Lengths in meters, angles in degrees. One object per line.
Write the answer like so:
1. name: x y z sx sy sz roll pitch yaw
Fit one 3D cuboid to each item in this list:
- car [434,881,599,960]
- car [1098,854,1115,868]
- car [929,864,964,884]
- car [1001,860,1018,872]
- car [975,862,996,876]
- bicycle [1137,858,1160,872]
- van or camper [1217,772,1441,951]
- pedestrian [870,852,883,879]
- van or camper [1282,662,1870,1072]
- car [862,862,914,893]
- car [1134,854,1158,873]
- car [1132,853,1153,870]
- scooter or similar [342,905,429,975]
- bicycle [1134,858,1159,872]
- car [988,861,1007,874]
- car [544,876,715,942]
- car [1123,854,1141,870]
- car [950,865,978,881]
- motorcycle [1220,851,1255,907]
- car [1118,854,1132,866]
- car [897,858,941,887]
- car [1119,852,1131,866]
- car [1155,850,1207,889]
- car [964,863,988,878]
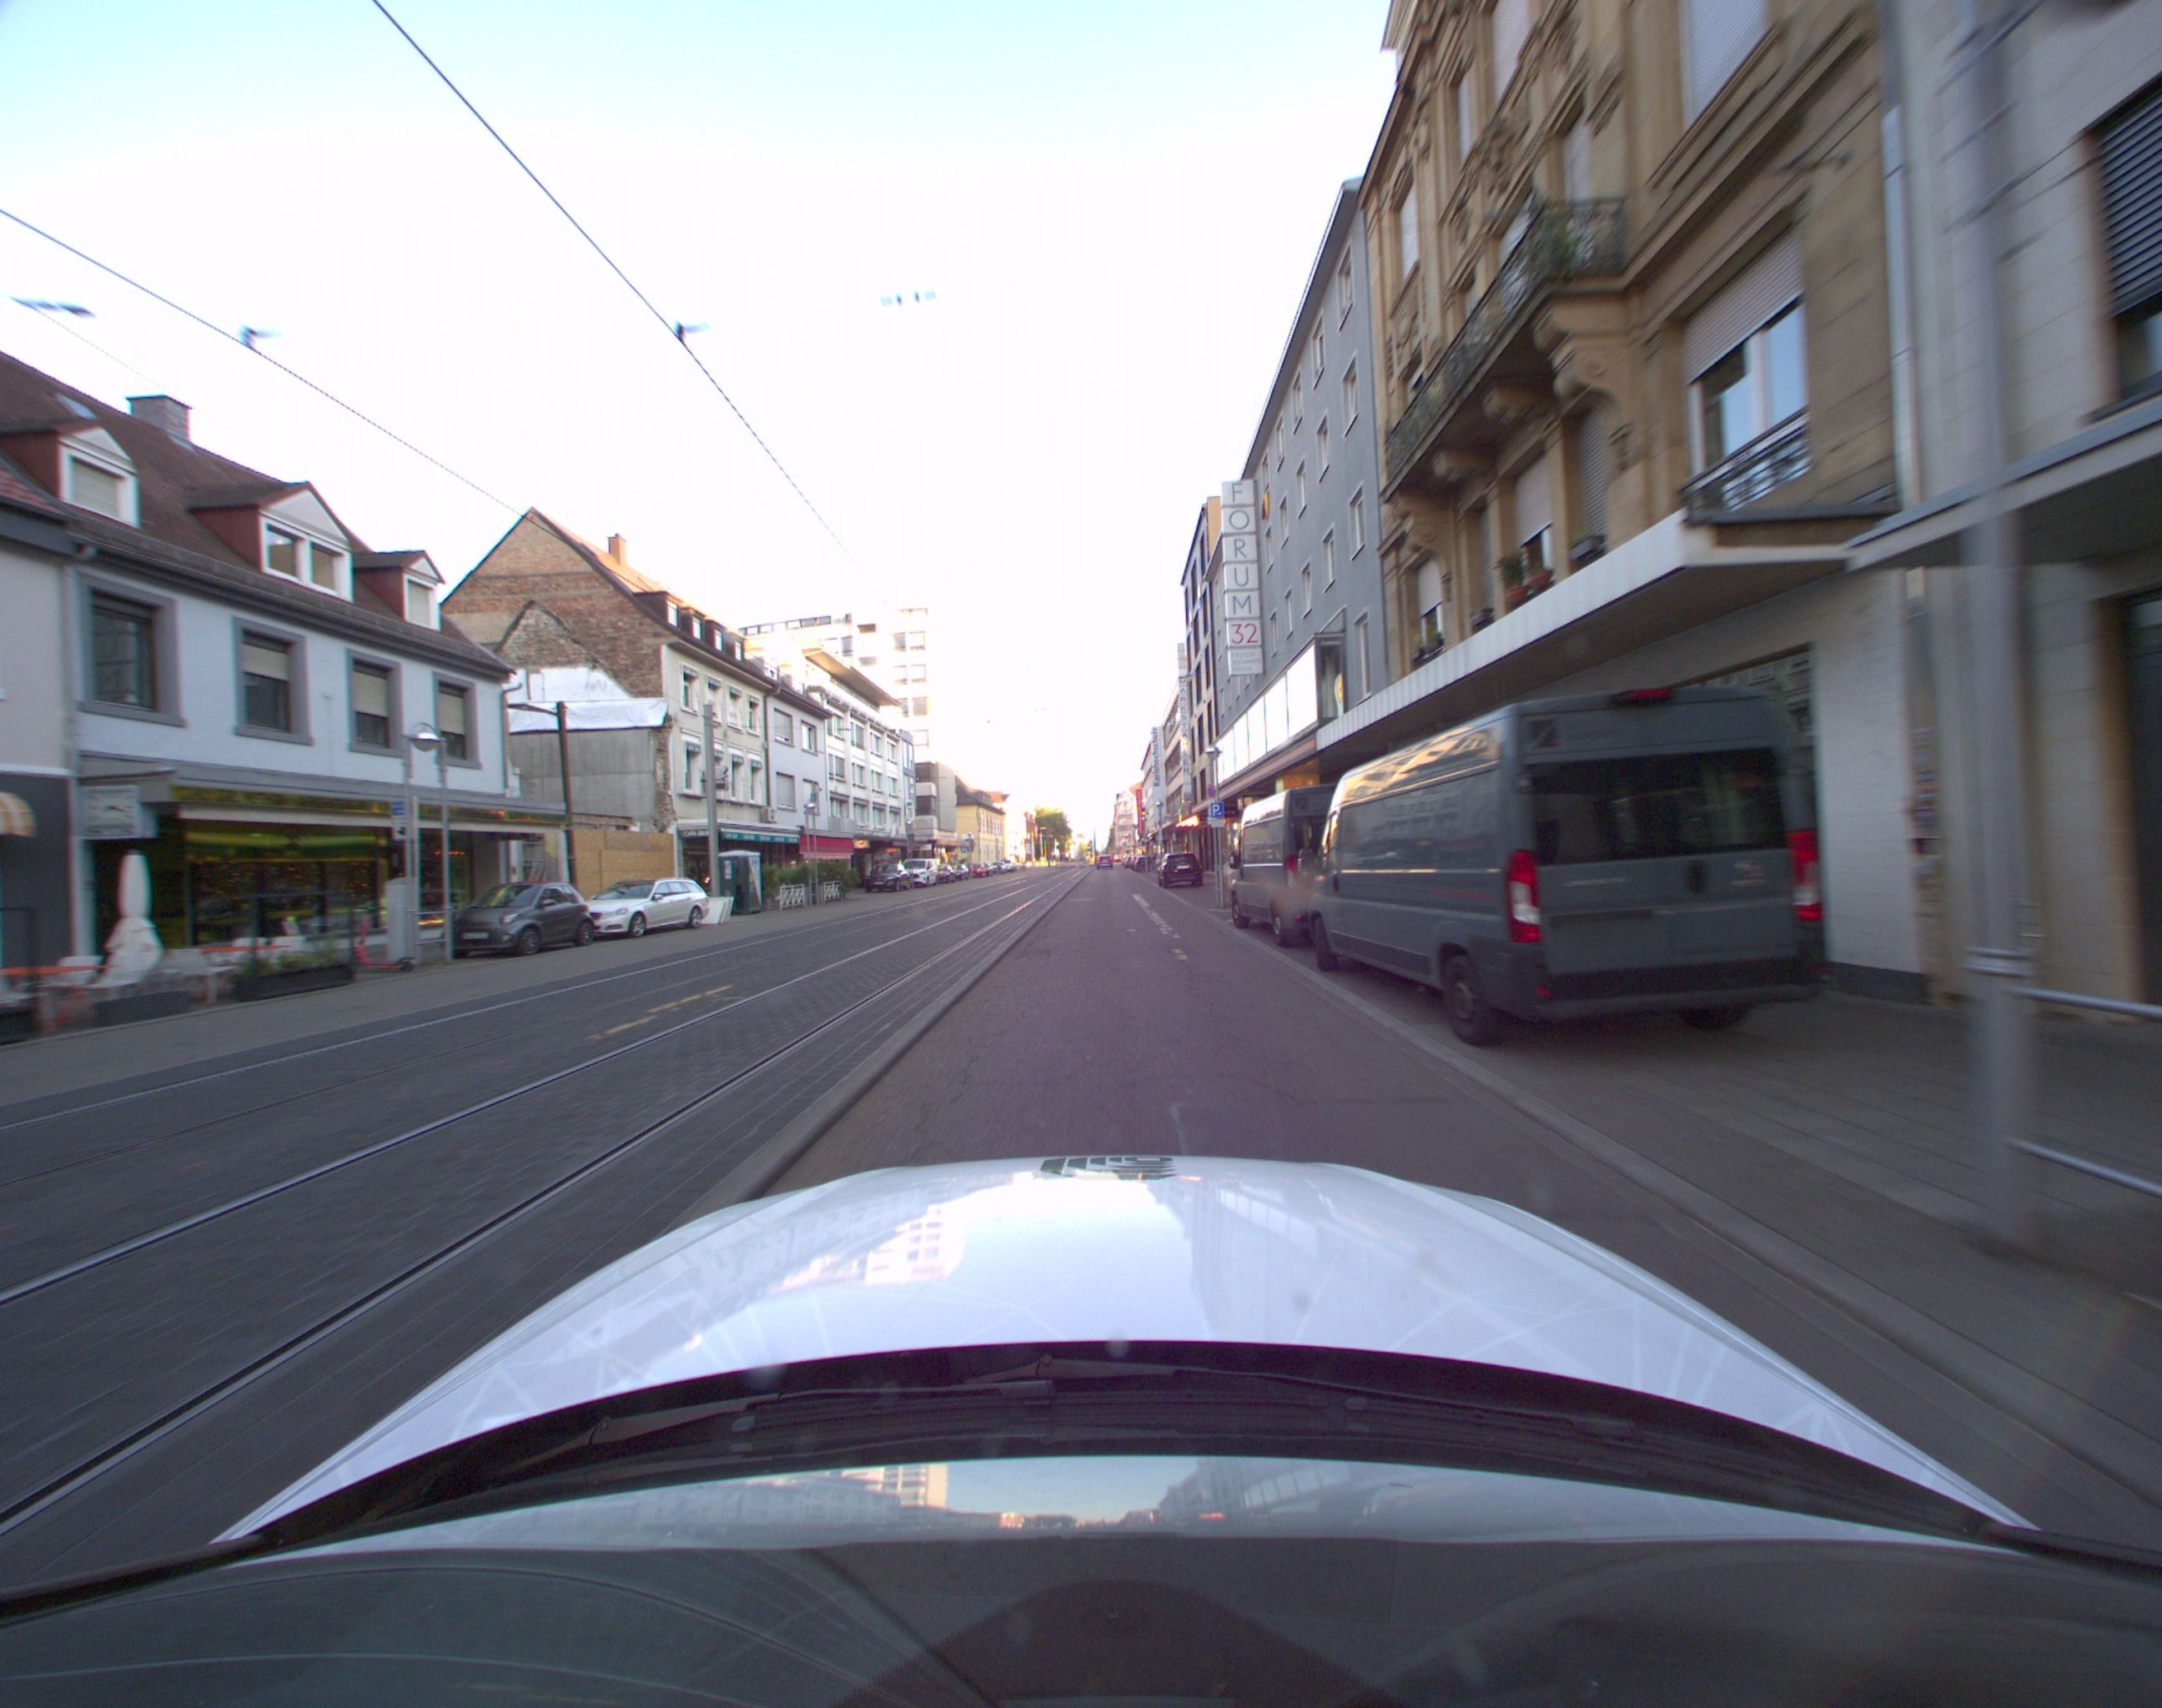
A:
1. car: -12.190 1.375 17.782 1.586 1.504 2.813 0 0 1
2. car: 3.056 0.811 96.115 1.936 1.545 4.547 -2 0 3
3. car: -10.656 1.557 64.600 1.910 1.521 4.630 0 0 1
4. car: -9.297 1.532 105.487 1.784 1.449 3.892 0 0 1
5. car: -10.079 1.564 86.175 1.784 1.339 3.892 0 0 1
6. bicycle: 5.615 0.941 68.084 1.862 1.090 0.545 -3 0 1
7. van or camper: 4.061 0.120 14.570 2.181 2.426 5.517 -5 0 0
8. pedestrian: -13.961 0.758 55.566 0.645 1.820 0.837 0 0 2
9. van or camper: 3.890 0.096 8.240 2.181 2.426 6.134 -5 0 1
10. car: -11.533 1.387 48.962 1.910 1.763 4.432 0 0 2
11. car: 6.019 0.886 75.466 1.936 1.545 4.547 -5 0 3
12. car: 6.144 0.723 81.767 1.936 1.545 4.547 -5 0 3
13. scooter or similar: -12.345 1.524 14.469 1.309 1.205 0.294 0 -1 2
14. bicycle: 5.784 0.956 71.834 2.112 1.090 0.591 -3 0 -1
15. car: -10.176 1.628 99.440 1.784 1.449 3.892 0 0 1
16. car: -12.117 1.413 22.304 1.842 1.504 4.844 0 0 2
17. car: 6.109 0.886 97.061 1.936 1.703 4.547 -5 0 3
18. car: -10.158 1.620 70.888 1.784 1.339 3.892 0 0 1
19. motorcycle: 4.285 0.653 22.348 0.808 1.417 2.010 -4 0 10
20. car: 6.731 0.893 123.710 1.936 1.703 4.547 -5 0 3
21. car: -11.241 1.236 56.789 1.910 1.936 4.844 0 0 2
22. car: 7.315 0.800 135.554 1.936 2.145 4.547 -5 0 3
23. car: 4.528 0.690 37.512 1.936 1.545 4.547 -5 0 3
24. car: -10.424 1.612 80.786 1.784 1.339 3.892 0 0 1
